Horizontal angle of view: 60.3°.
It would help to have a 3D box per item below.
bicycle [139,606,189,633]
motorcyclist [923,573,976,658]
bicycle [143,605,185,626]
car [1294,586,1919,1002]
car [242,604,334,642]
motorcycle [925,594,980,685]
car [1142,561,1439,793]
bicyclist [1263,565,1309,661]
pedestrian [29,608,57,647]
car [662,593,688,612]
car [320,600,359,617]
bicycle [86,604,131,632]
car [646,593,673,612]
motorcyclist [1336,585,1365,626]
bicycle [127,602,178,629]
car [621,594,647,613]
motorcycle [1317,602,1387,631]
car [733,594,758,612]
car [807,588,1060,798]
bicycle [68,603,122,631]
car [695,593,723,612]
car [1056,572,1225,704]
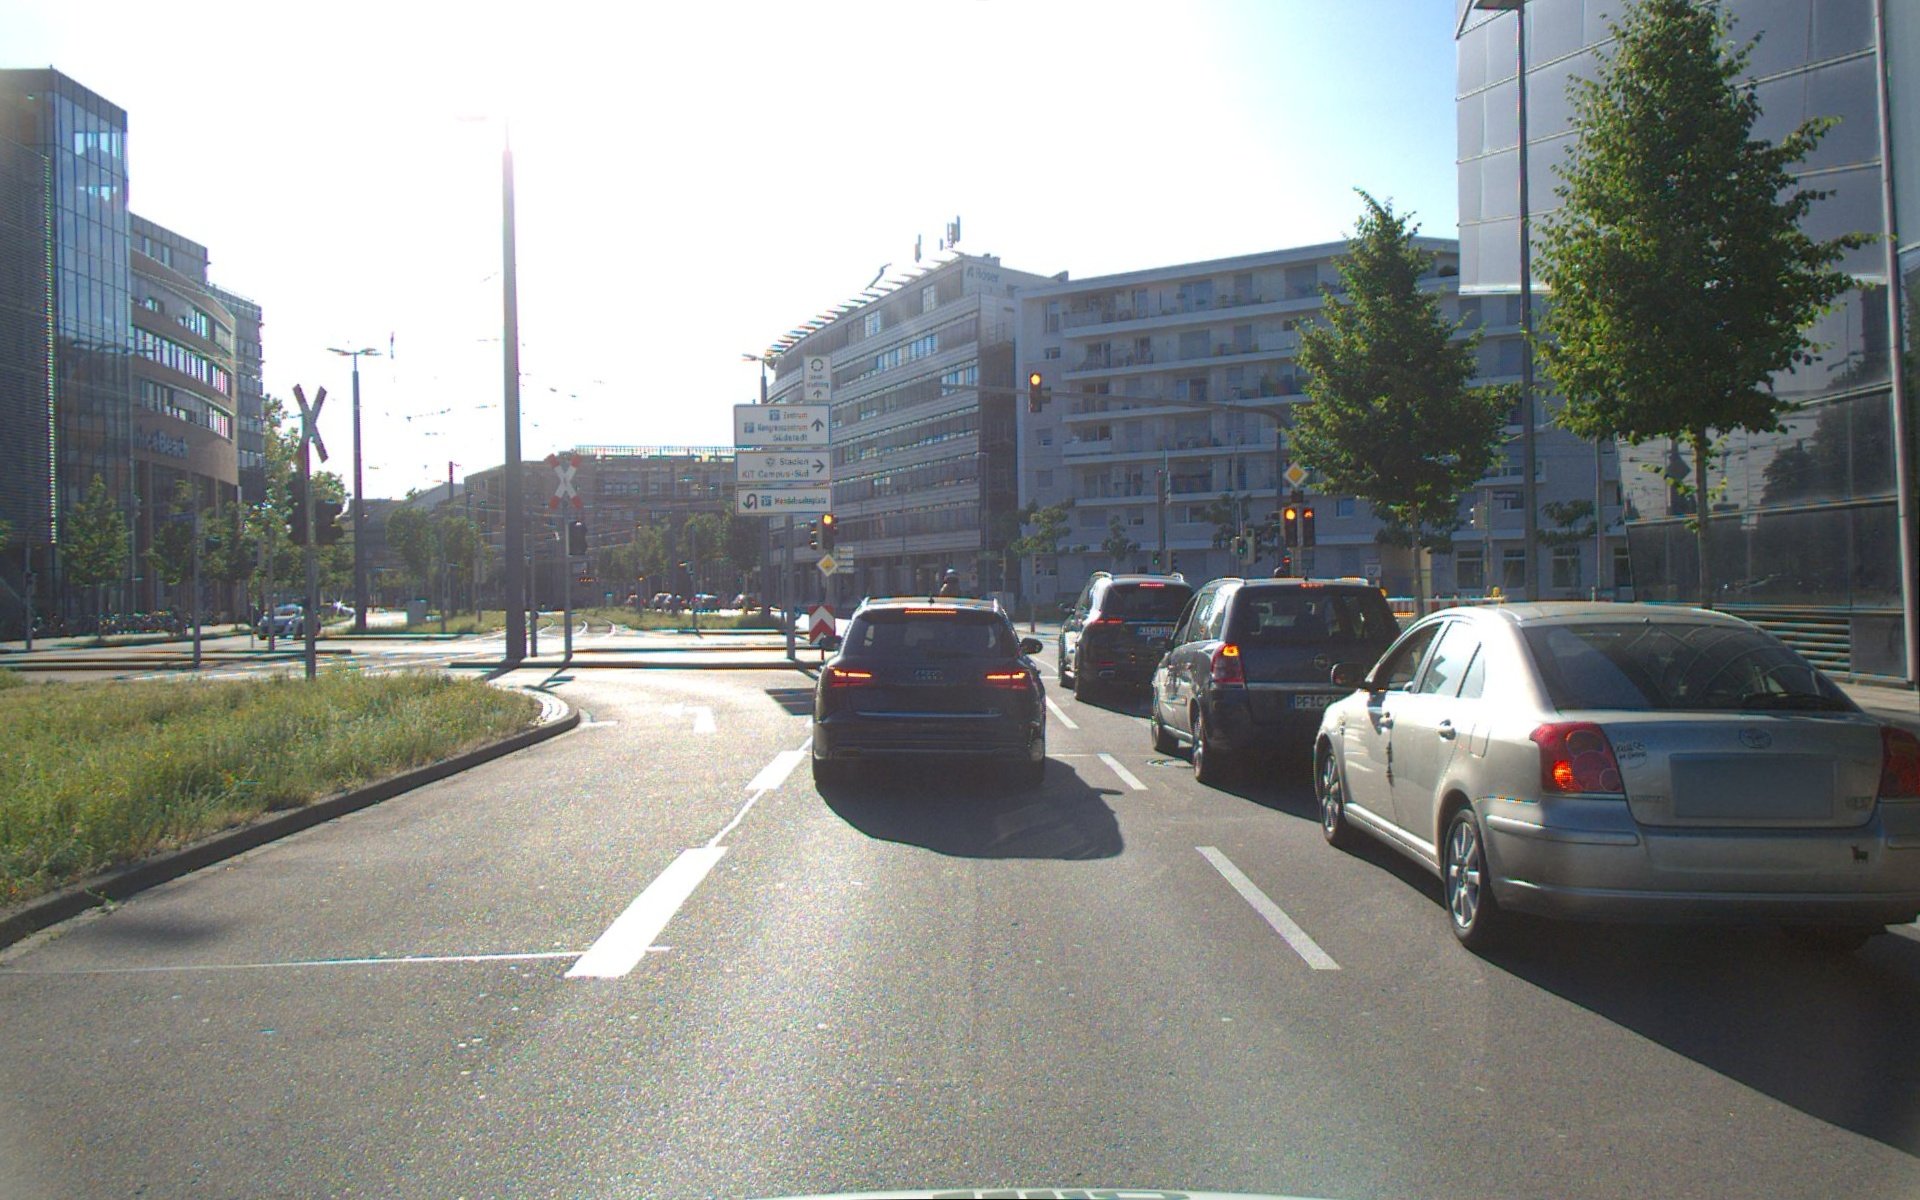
[{"bbox_3d":[-46.637,1.147,96.891,2.507,1.458,0.905,-2,-1,8],"label":"bicycle"},{"bbox_3d":[-0.175,0.247,26.891,0.845,1.349,0.681,-1,0,-1],"label":"motorcyclist"},{"bbox_3d":[-50.403,1.011,104.709,2.362,1.257,0.745,-2,-1,8],"label":"bicycle"},{"bbox_3d":[3.036,0.704,8.379,1.710,1.507,4.628,-1,0,-1],"label":"car"},{"bbox_3d":[-29.910,1.016,73.743,1.951,1.572,4.533,-1,0,4],"label":"car"},{"bbox_3d":[-0.127,0.623,27.071,0.845,1.417,1.893,-1,0,-1],"label":"motorcycle"},{"bbox_3d":[2.725,0.578,14.588,1.710,1.725,4.260,1,0,-1],"label":"car"},{"bbox_3d":[5.779,0.225,29.334,0.640,1.671,0.972,-1,0,2],"label":"bicyclist"},{"bbox_3d":[-44.222,1.341,79.761,0.809,1.856,0.905,-2,-1,0],"label":"pedestrian"},{"bbox_3d":[-26.382,0.230,153.251,1.961,1.624,3.983,-1,0,-16],"label":"car"},{"bbox_3d":[-60.834,0.854,162.147,3.280,1.616,1.654,-1,0,24],"label":"car"},{"bbox_3d":[-46.217,0.963,89.756,2.039,1.458,0.861,-2,-1,8],"label":"bicycle"},{"bbox_3d":[-28.986,0.257,159.283,1.963,1.736,3.978,-1,0,-19],"label":"car"},{"bbox_3d":[14.506,0.208,61.491,0.905,1.507,1.172,-1,0,7],"label":"motorcyclist"},{"bbox_3d":[-46.215,0.878,94.649,2.507,1.458,0.905,-2,-1,8],"label":"bicycle"},{"bbox_3d":[-31.271,0.368,158.466,1.963,1.736,3.978,-1,0,-19],"label":"car"},{"bbox_3d":[14.558,0.619,61.495,2.400,1.018,1.172,-1,0,7],"label":"motorcycle"},{"bbox_3d":[-21.225,0.295,163.416,1.961,1.624,3.984,-1,0,-15],"label":"car"},{"bbox_3d":[-0.222,0.662,13.957,1.805,1.479,3.999,1,1,-1],"label":"car"},{"bbox_3d":[-46.367,0.913,88.681,2.319,1.458,1.077,-2,-1,8],"label":"bicycle"},{"bbox_3d":[-22.928,0.254,151.011,1.961,1.624,3.982,-1,0,-16],"label":"car"},{"bbox_3d":[2.571,0.494,24.572,1.962,1.745,4.372,1,1,-1],"label":"car"}]
